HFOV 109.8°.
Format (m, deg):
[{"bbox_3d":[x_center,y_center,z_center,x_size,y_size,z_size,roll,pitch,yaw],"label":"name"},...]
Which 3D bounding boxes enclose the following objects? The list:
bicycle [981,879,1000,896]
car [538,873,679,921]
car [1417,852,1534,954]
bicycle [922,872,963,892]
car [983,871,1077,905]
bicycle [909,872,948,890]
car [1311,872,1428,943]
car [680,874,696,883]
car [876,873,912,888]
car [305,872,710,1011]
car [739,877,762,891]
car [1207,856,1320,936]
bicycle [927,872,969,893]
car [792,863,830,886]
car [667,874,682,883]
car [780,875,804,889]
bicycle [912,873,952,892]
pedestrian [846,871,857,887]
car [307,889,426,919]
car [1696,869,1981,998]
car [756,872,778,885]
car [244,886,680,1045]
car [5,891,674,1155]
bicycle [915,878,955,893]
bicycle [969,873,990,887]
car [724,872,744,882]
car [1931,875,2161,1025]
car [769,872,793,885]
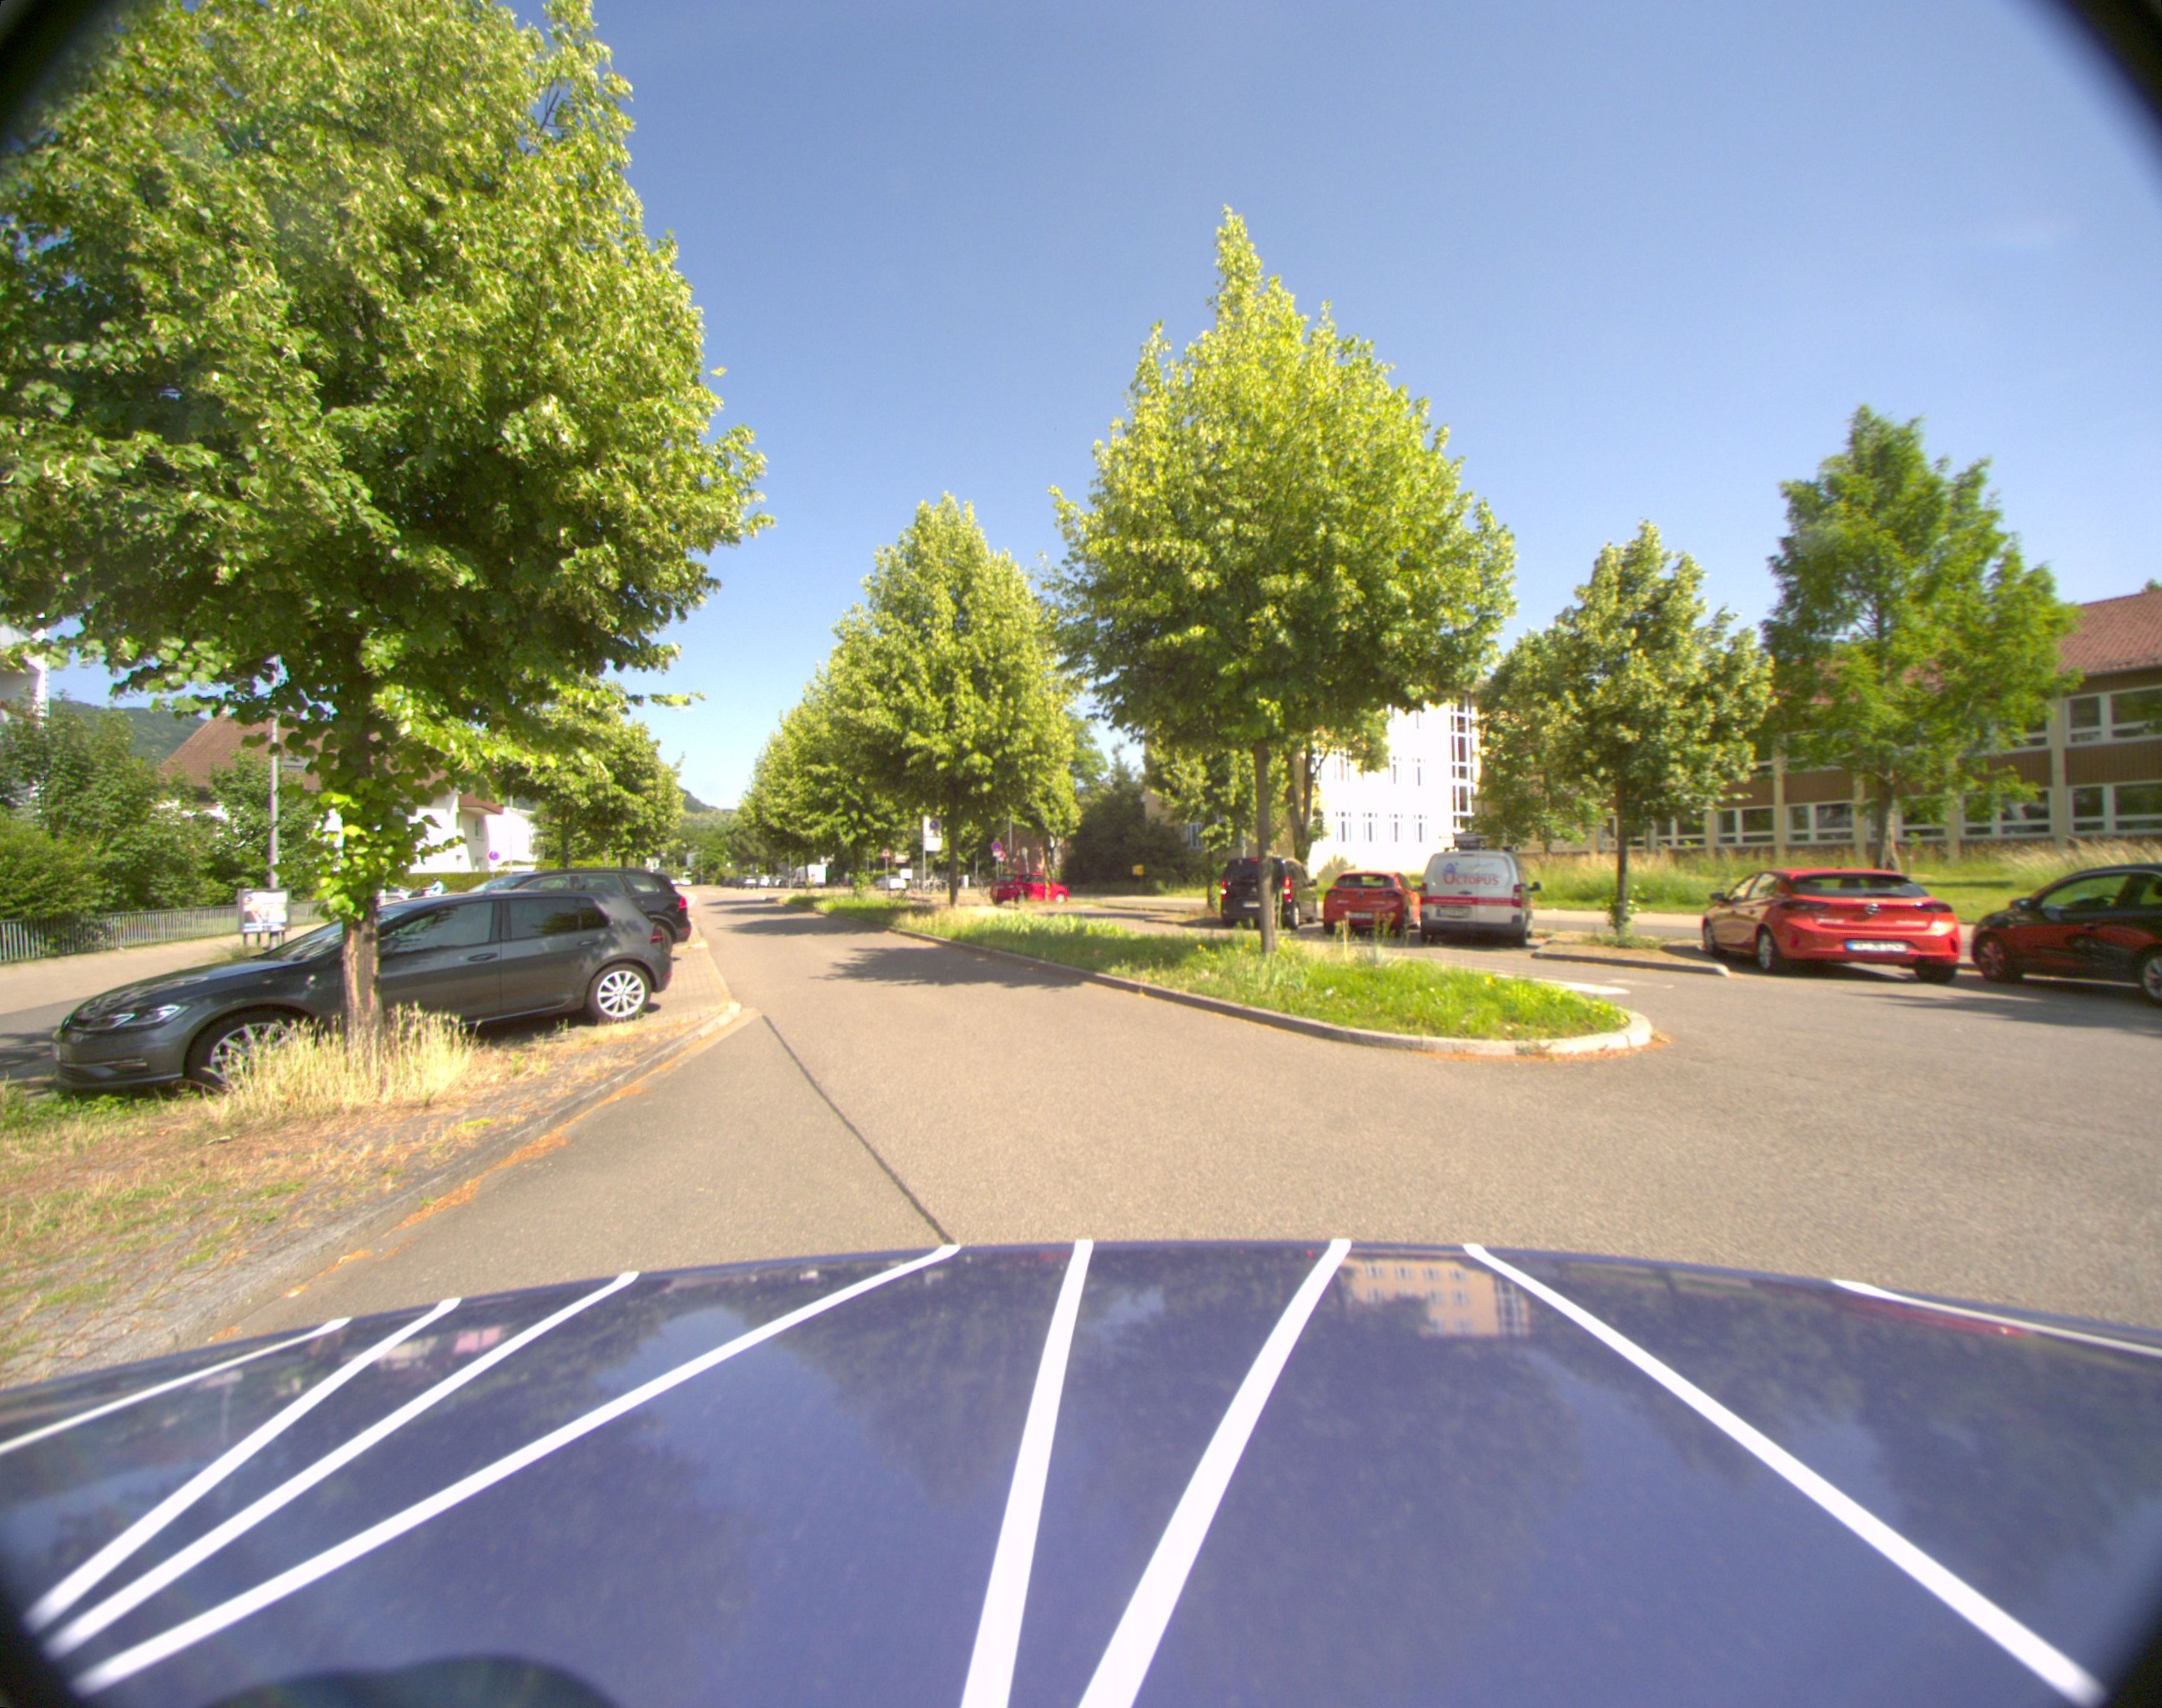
[{"bbox_3d":[-5.140,1.905,43.136,0.523,0.898,1.267,1,-1,-33],"label":"bicycle"},{"bbox_3d":[-18.058,1.593,29.230,2.039,1.630,4.128,-1,-1,29],"label":"car"},{"bbox_3d":[7.958,0.865,15.139,1.814,1.761,3.782,-1,-1,31],"label":"car"},{"bbox_3d":[-9.129,1.835,50.134,2.528,1.248,0.738,1,-2,-30],"label":"bicycle"},{"bbox_3d":[-2.278,1.507,34.513,1.994,1.457,4.009,-2,-3,41],"label":"car"},{"bbox_3d":[-10.702,1.861,53.299,2.557,1.248,0.738,1,-2,-30],"label":"bicycle"},{"bbox_3d":[6.728,1.150,17.480,1.851,1.419,3.783,-2,-2,31],"label":"car"},{"bbox_3d":[-71.376,4.419,138.035,1.964,1.543,3.990,-1,-1,-37],"label":"car"},{"bbox_3d":[-16.631,2.356,67.293,1.729,1.259,3.990,1,-2,-36],"label":"car"},{"bbox_3d":[-8.617,1.164,11.961,1.748,1.650,4.756,-1,-1,32],"label":"car"},{"bbox_3d":[-38.345,3.433,88.129,1.750,1.537,4.063,1,-1,-32],"label":"car"},{"bbox_3d":[4.789,1.013,19.468,1.999,1.805,4.197,-2,-2,24],"label":"car"},{"bbox_3d":[-8.610,1.842,49.248,2.557,1.249,0.738,-1,-1,-31],"label":"bicycle"},{"bbox_3d":[-30.074,2.287,84.507,2.100,2.481,5.937,1,-2,-39],"label":"car"},{"bbox_3d":[-79.473,4.777,148.491,2.004,1.608,3.990,0,-1,-37],"label":"car"},{"bbox_3d":[-33.861,3.296,88.991,1.729,1.549,3.990,1,-2,-36],"label":"car"},{"bbox_3d":[-10.270,1.957,52.442,2.557,1.231,0.738,1,-2,-30],"label":"bicycle"},{"bbox_3d":[-25.338,2.715,83.799,0.978,1.769,0.723,-1,-1,-32],"label":"pedestrian"},{"bbox_3d":[-36.666,2.549,39.139,4.135,1.389,1.808,0,-4,-28],"label":"car"},{"bbox_3d":[10.333,0.958,10.756,1.711,1.415,3.850,-1,-1,26],"label":"car"},{"bbox_3d":[-40.512,3.183,97.891,1.729,1.549,3.990,1,-2,-36],"label":"car"},{"bbox_3d":[-7.670,1.225,9.845,1.764,1.465,4.008,-2,-1,33],"label":"car"},{"bbox_3d":[-6.440,1.195,7.144,1.995,1.521,4.126,-2,-1,32],"label":"car"},{"bbox_3d":[-9.858,2.117,51.231,2.557,0.981,0.738,1,-2,-30],"label":"bicycle"},{"bbox_3d":[-8.490,2.179,63.654,1.713,1.074,0.378,-2,-1,13],"label":"bicycle"},{"bbox_3d":[-50.650,3.356,110.905,1.851,1.448,4.183,1,-2,-37],"label":"car"},{"bbox_3d":[11.654,0.946,8.177,1.851,1.414,3.781,0,-1,22],"label":"car"},{"bbox_3d":[-36.721,3.053,92.946,1.729,1.549,4.661,1,-2,-36],"label":"car"}]
